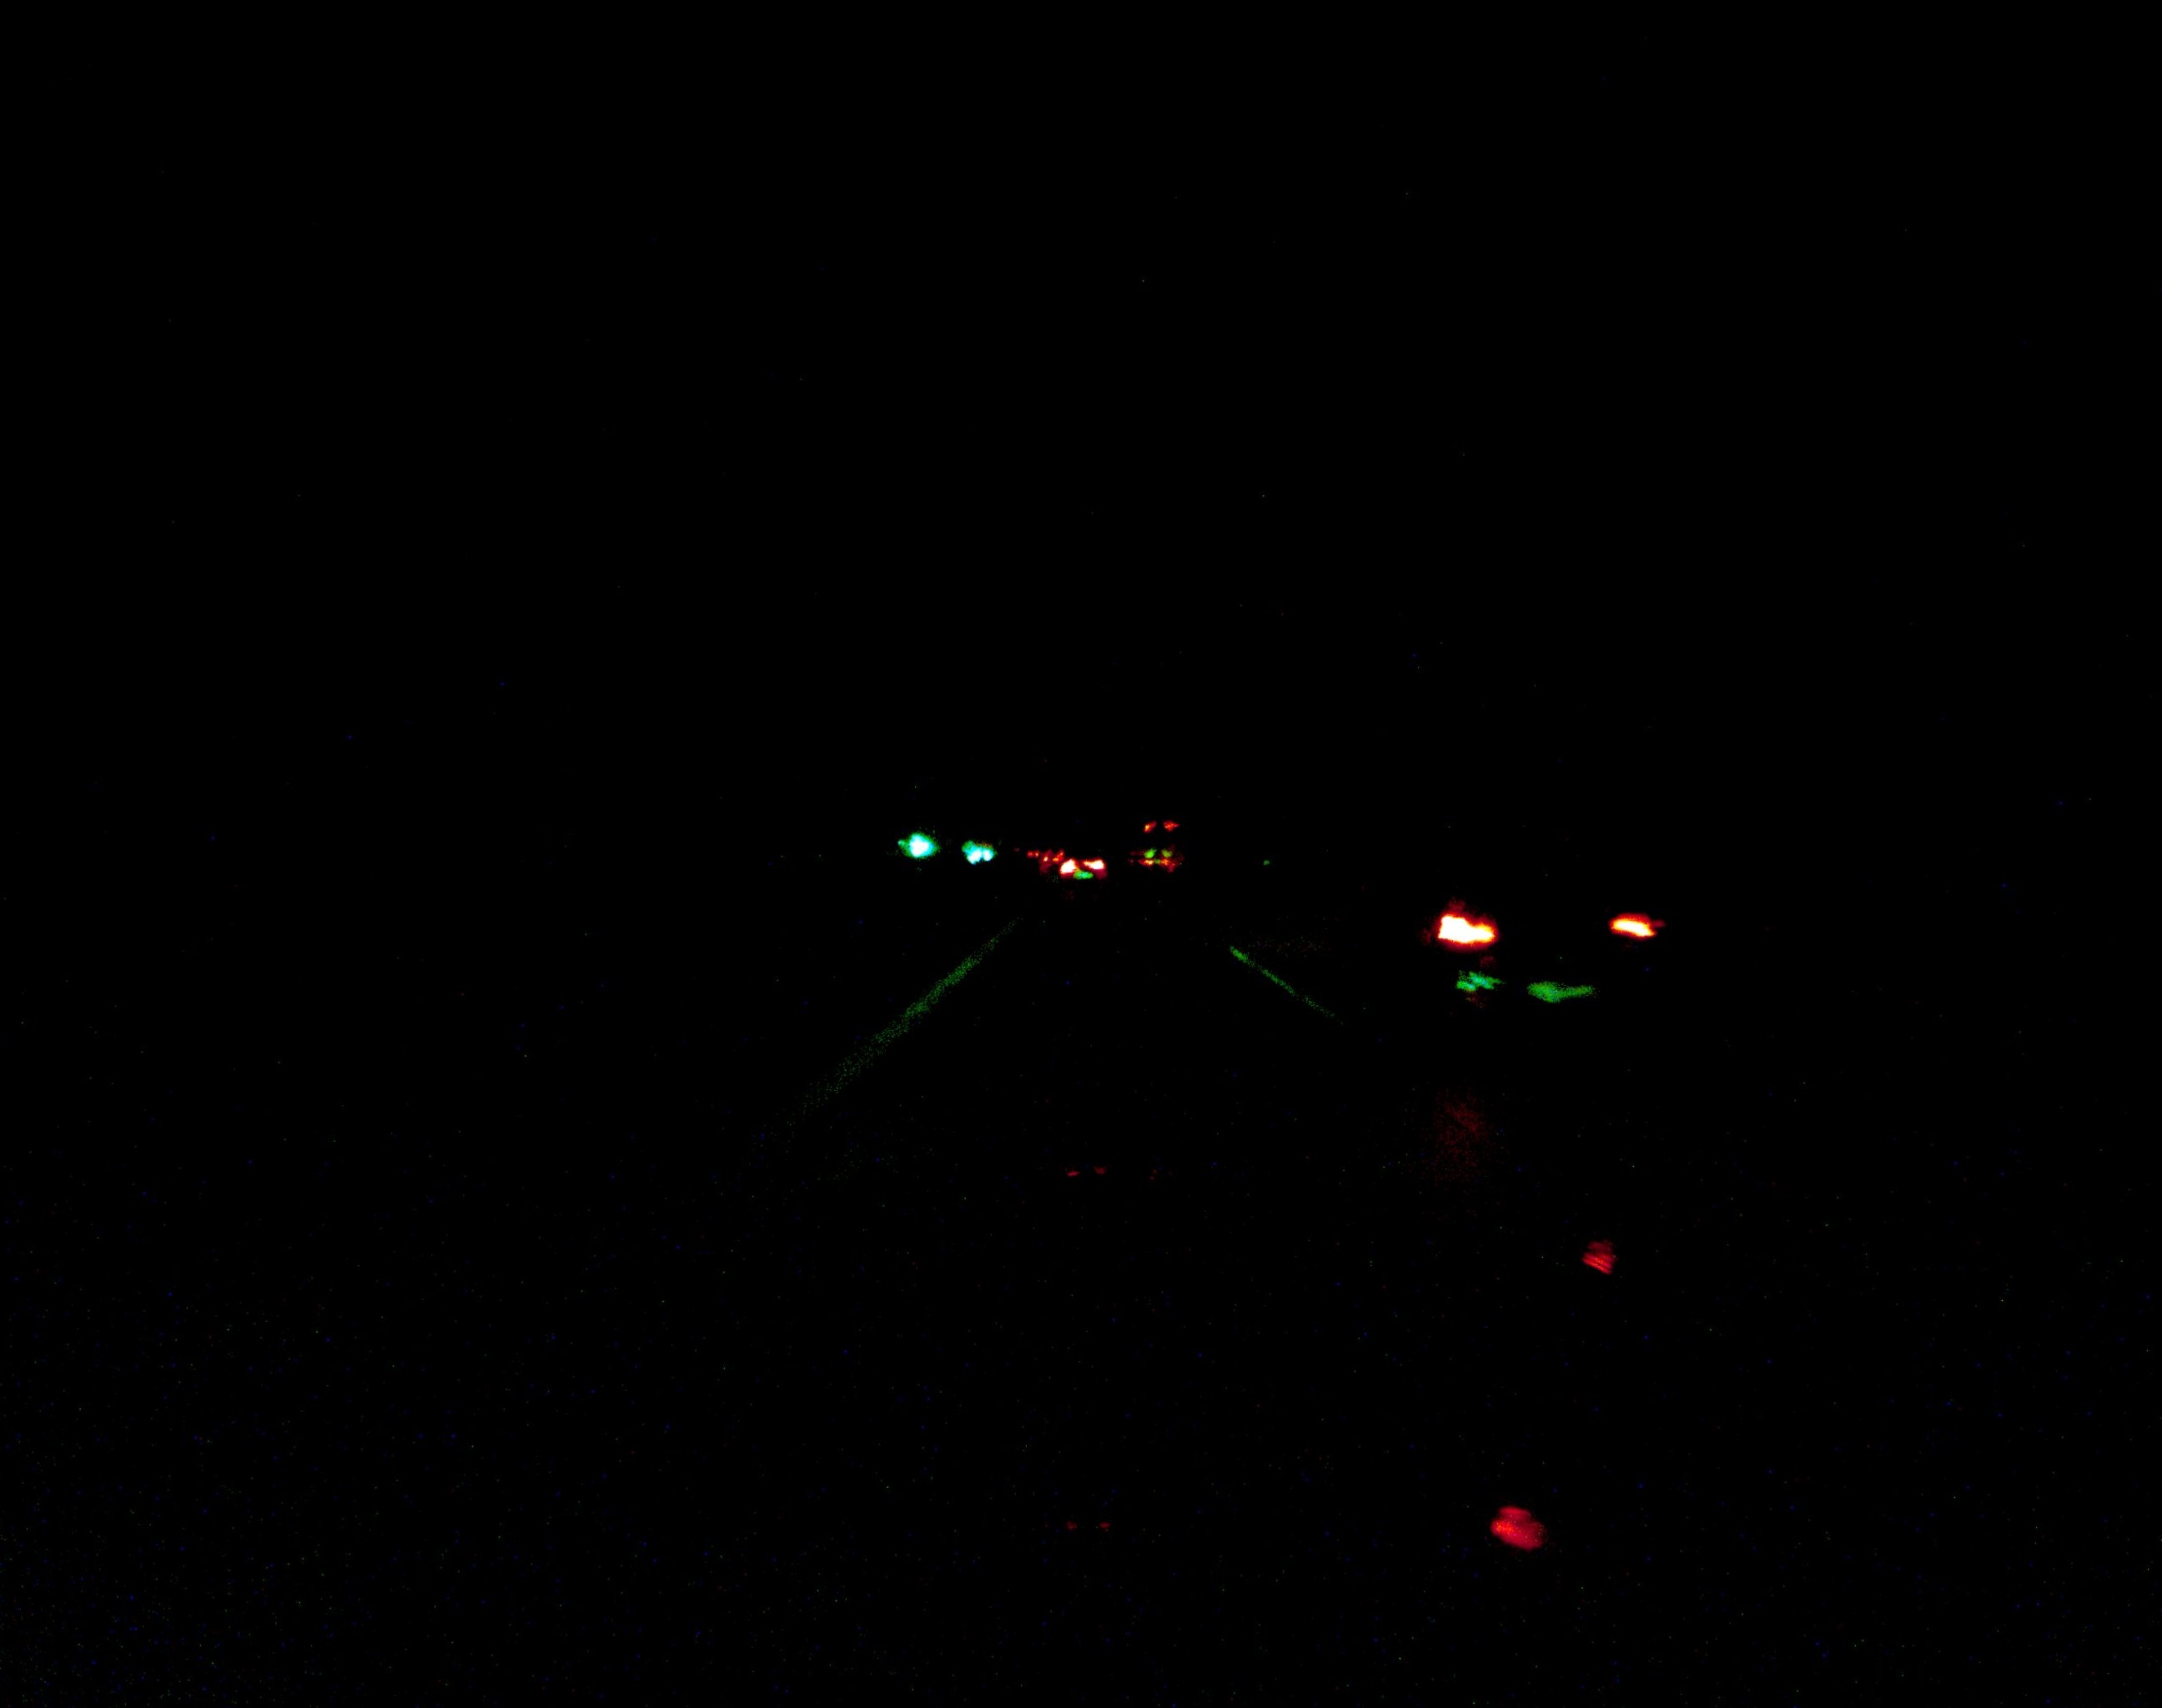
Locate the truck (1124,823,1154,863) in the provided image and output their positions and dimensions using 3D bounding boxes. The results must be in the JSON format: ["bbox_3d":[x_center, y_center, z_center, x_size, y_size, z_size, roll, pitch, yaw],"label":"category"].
[{"bbox_3d":[6.296,-1.245,89.127,2.704,4.241,5.288,0,1,-2],"label":"truck"}]

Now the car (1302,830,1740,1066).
[{"bbox_3d":[3.619,0.626,7.739,1.796,1.617,4.254,0,0,-2],"label":"car"}]

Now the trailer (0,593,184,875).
[{"bbox_3d":[-15.877,-1.621,8.218,2.918,3.748,9.501,4,1,0],"label":"trailer"}]

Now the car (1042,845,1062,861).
[{"bbox_3d":[-3.750,-0.127,104.548,1.995,2.014,3.984,-1,-1,-12],"label":"car"}]

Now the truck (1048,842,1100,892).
[{"bbox_3d":[-0.248,0.563,40.280,2.137,2.077,6.607,4,1,2],"label":"truck"}]

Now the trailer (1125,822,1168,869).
[{"bbox_3d":[6.474,-0.975,82.620,2.732,4.247,13.364,-2,2,-2],"label":"trailer"}]
